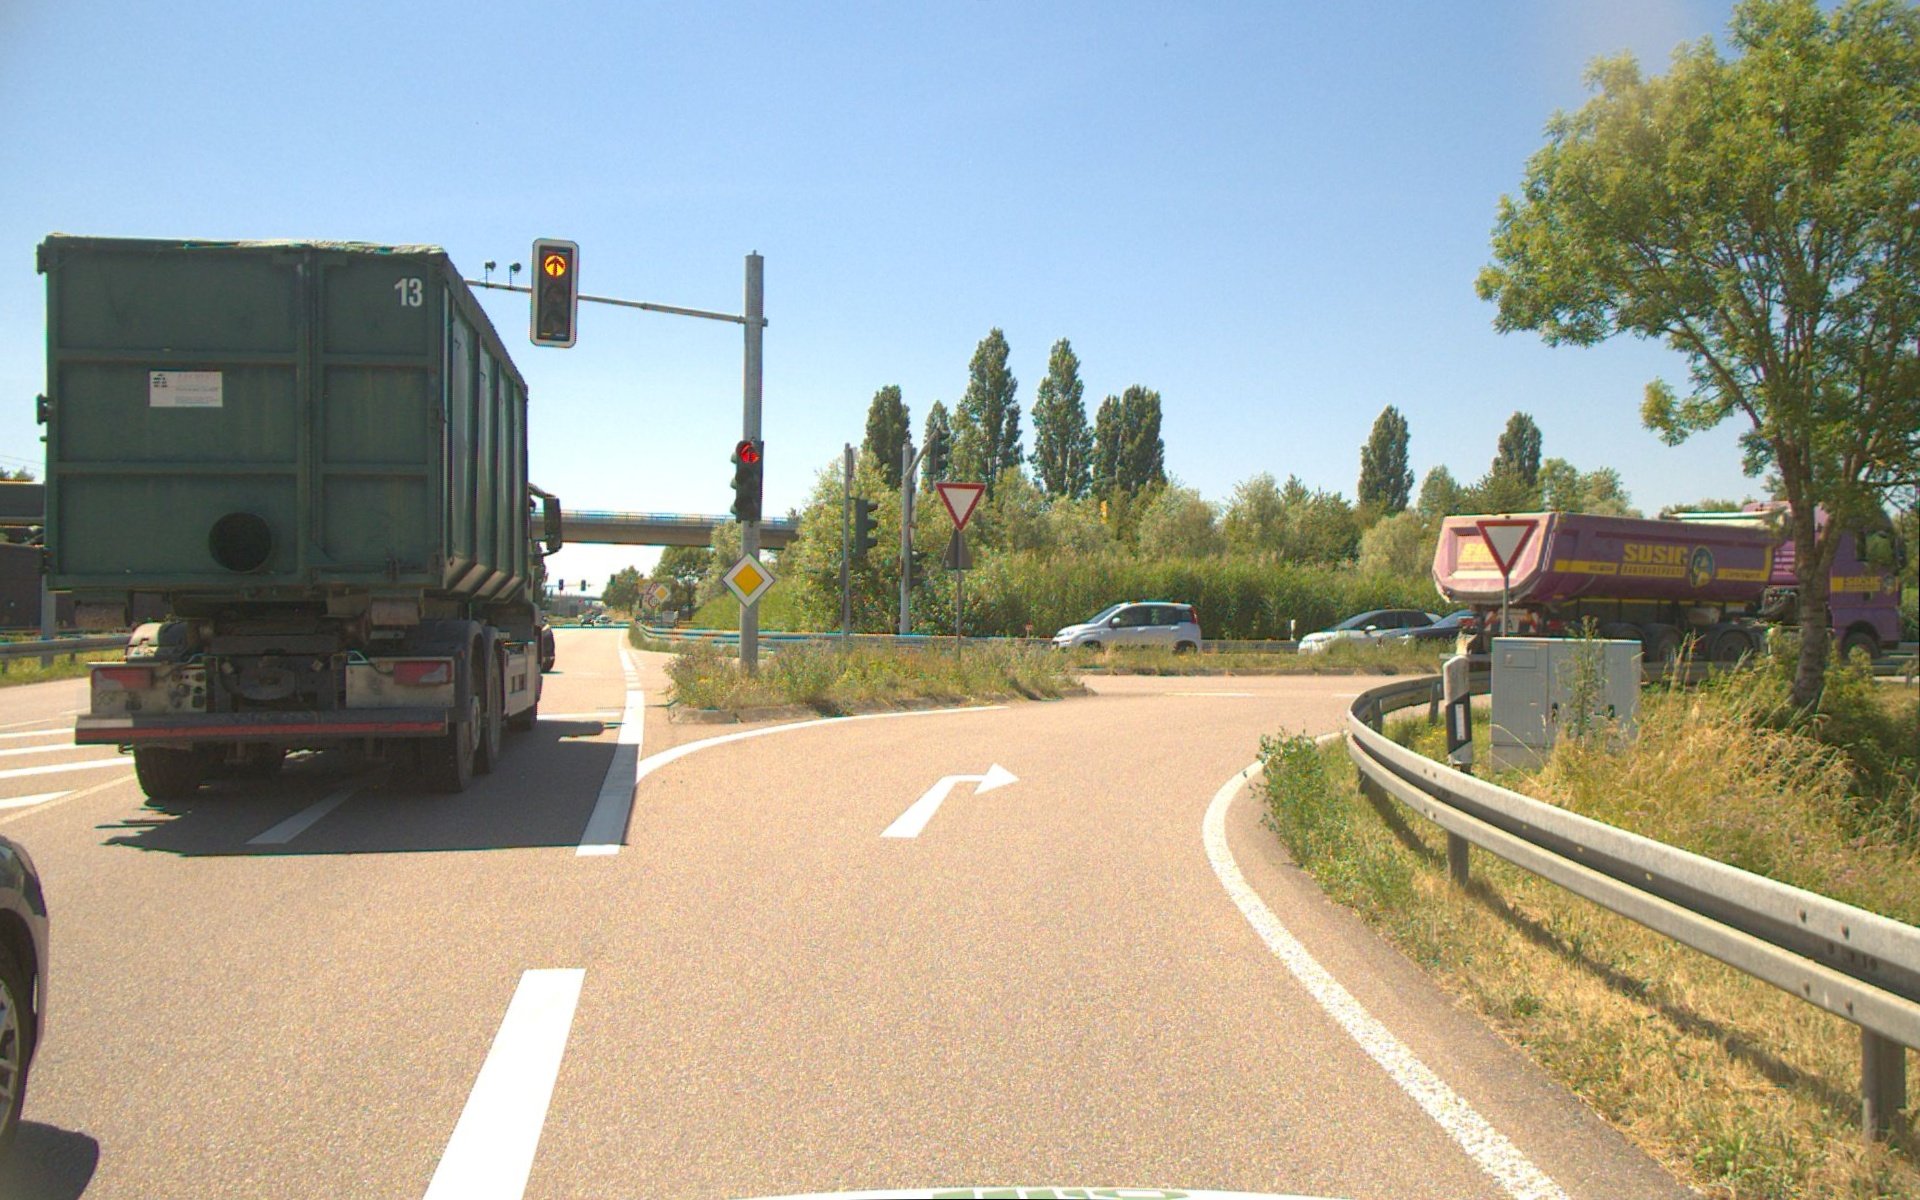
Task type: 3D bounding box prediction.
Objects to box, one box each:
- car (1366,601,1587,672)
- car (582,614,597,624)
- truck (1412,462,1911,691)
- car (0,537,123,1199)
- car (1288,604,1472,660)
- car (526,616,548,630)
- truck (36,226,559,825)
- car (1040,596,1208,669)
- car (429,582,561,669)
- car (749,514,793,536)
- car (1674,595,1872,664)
[{"bbox_3d":[12.644,0.867,40.607,4.833,1.660,1.930,0,0,-9],"label":"car"},{"bbox_3d":[-53.020,2.742,236.873,1.958,1.422,4.394,0,0,-11],"label":"car"},{"bbox_3d":[14.000,-0.396,32.351,11.730,3.888,2.812,0,-1,-32],"label":"truck"},{"bbox_3d":[-3.024,0.668,2.632,1.811,1.651,4.216,0,0,-9],"label":"car"},{"bbox_3d":[11.100,0.823,43.878,4.308,1.422,1.997,0,0,-7],"label":"car"},{"bbox_3d":[-43.517,2.372,170.384,1.958,1.422,4.394,0,0,-11],"label":"car"},{"bbox_3d":[-5.403,-0.488,15.441,2.542,3.803,9.553,0,0,-10],"label":"truck"},{"bbox_3d":[3.847,0.754,39.119,3.640,1.660,1.730,0,0,-11],"label":"car"},{"bbox_3d":[-10.336,0.515,36.536,1.905,1.798,4.555,1,0,-28],"label":"car"},{"bbox_3d":[-18.326,-7.256,160.545,4.102,2.049,1.995,0,0,-11],"label":"car"},{"bbox_3d":[20.453,0.729,41.696,4.147,1.660,1.929,0,0,-10],"label":"car"}]
